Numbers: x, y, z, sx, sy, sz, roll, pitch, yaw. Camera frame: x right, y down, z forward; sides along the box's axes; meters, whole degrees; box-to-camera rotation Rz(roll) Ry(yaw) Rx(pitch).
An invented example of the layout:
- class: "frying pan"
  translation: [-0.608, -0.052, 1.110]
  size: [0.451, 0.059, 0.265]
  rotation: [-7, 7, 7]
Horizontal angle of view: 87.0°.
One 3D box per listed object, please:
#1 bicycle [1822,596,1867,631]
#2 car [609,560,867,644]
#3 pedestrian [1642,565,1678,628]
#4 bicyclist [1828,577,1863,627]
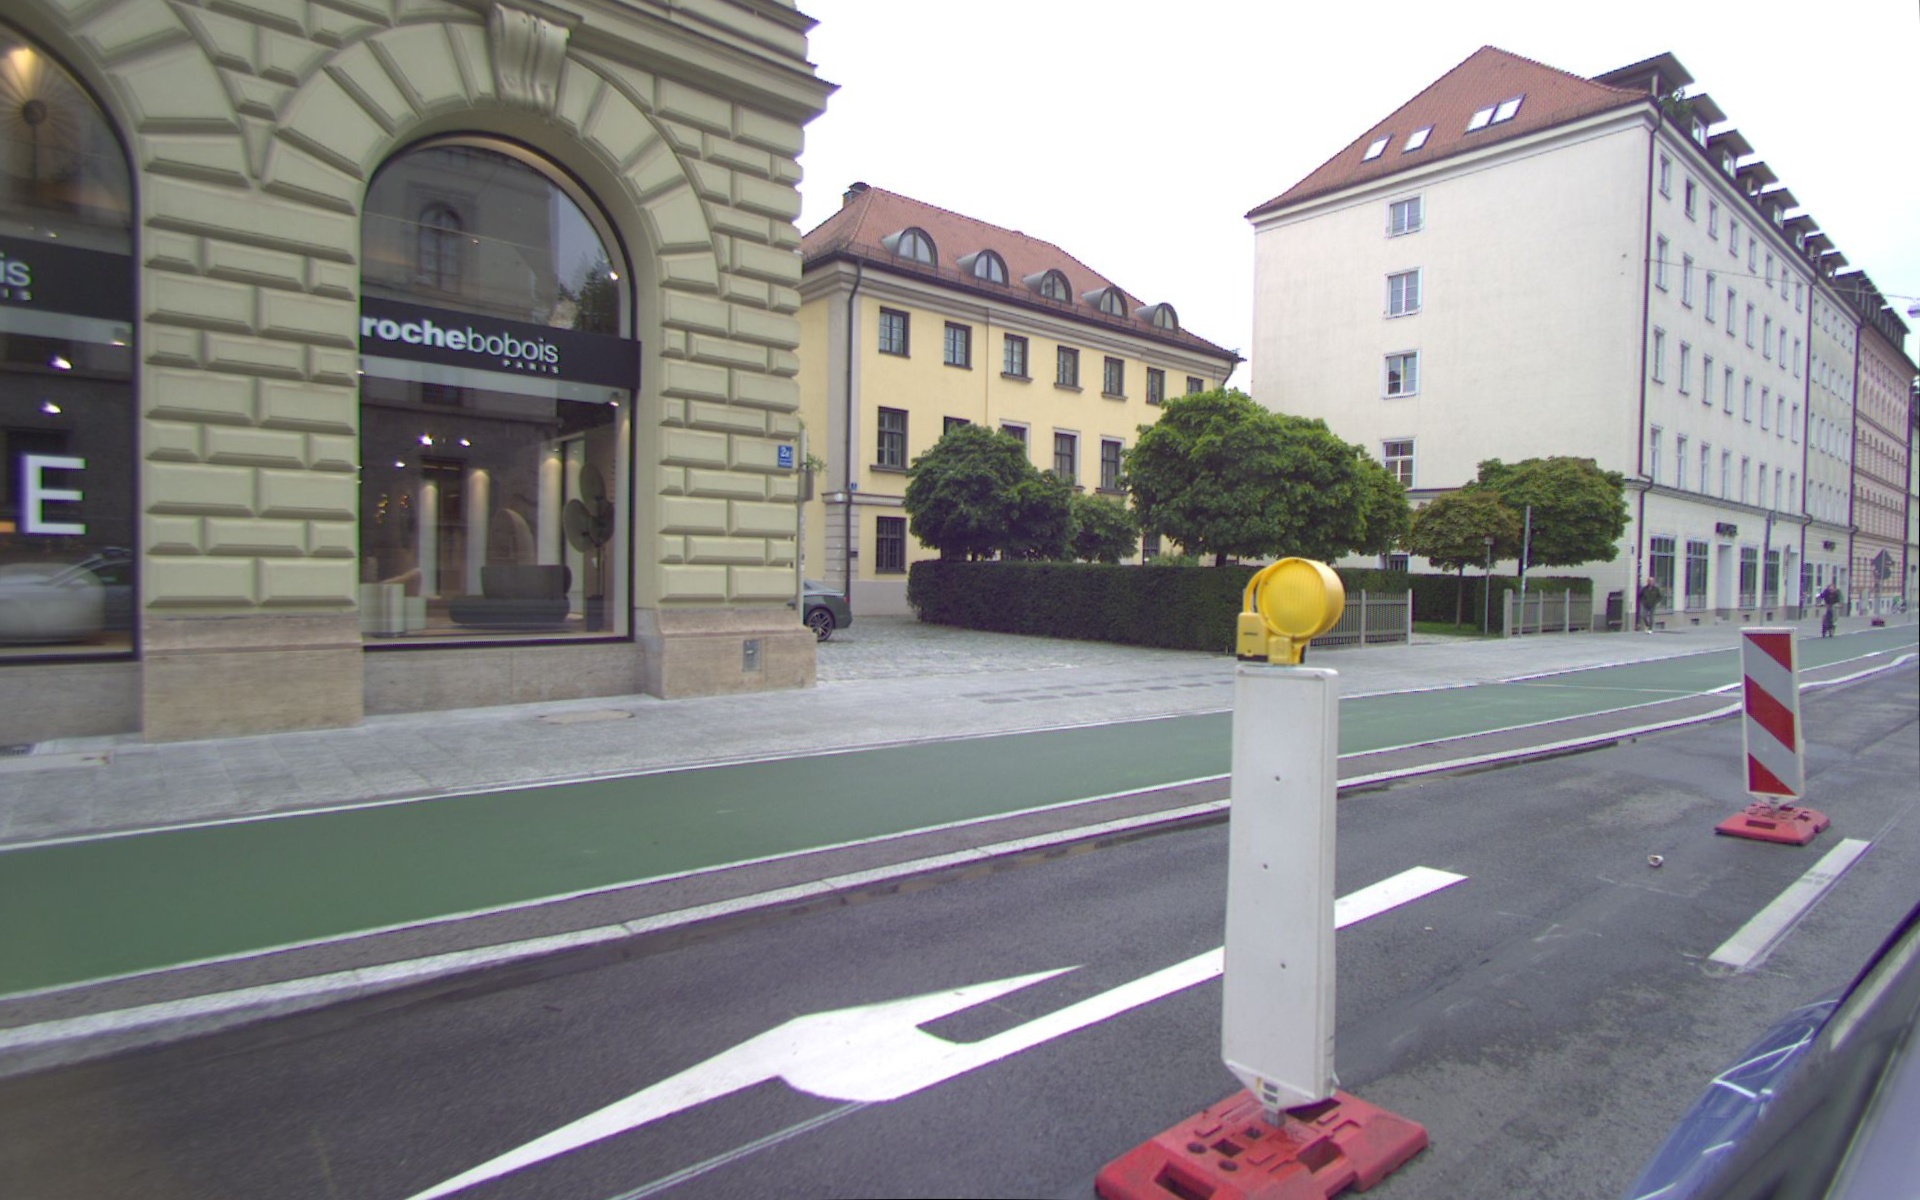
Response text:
- class: "bicycle"
  translation: [28.107, 0.414, 32.146]
  size: [2.486, 1.045, 0.750]
  rotation: [0, 1, -41]
- class: "car"
  translation: [-4.203, -0.011, 19.565]
  size: [4.549, 1.444, 1.861]
  rotation: [-1, 2, -41]
- class: "pedestrian"
  translation: [21.578, -0.112, 31.200]
  size: [0.811, 1.897, 0.655]
  rotation: [0, 3, -40]
- class: "bicyclist"
  translation: [28.179, 0.051, 32.207]
  size: [0.843, 1.572, 0.723]
  rotation: [0, 0, -40]
